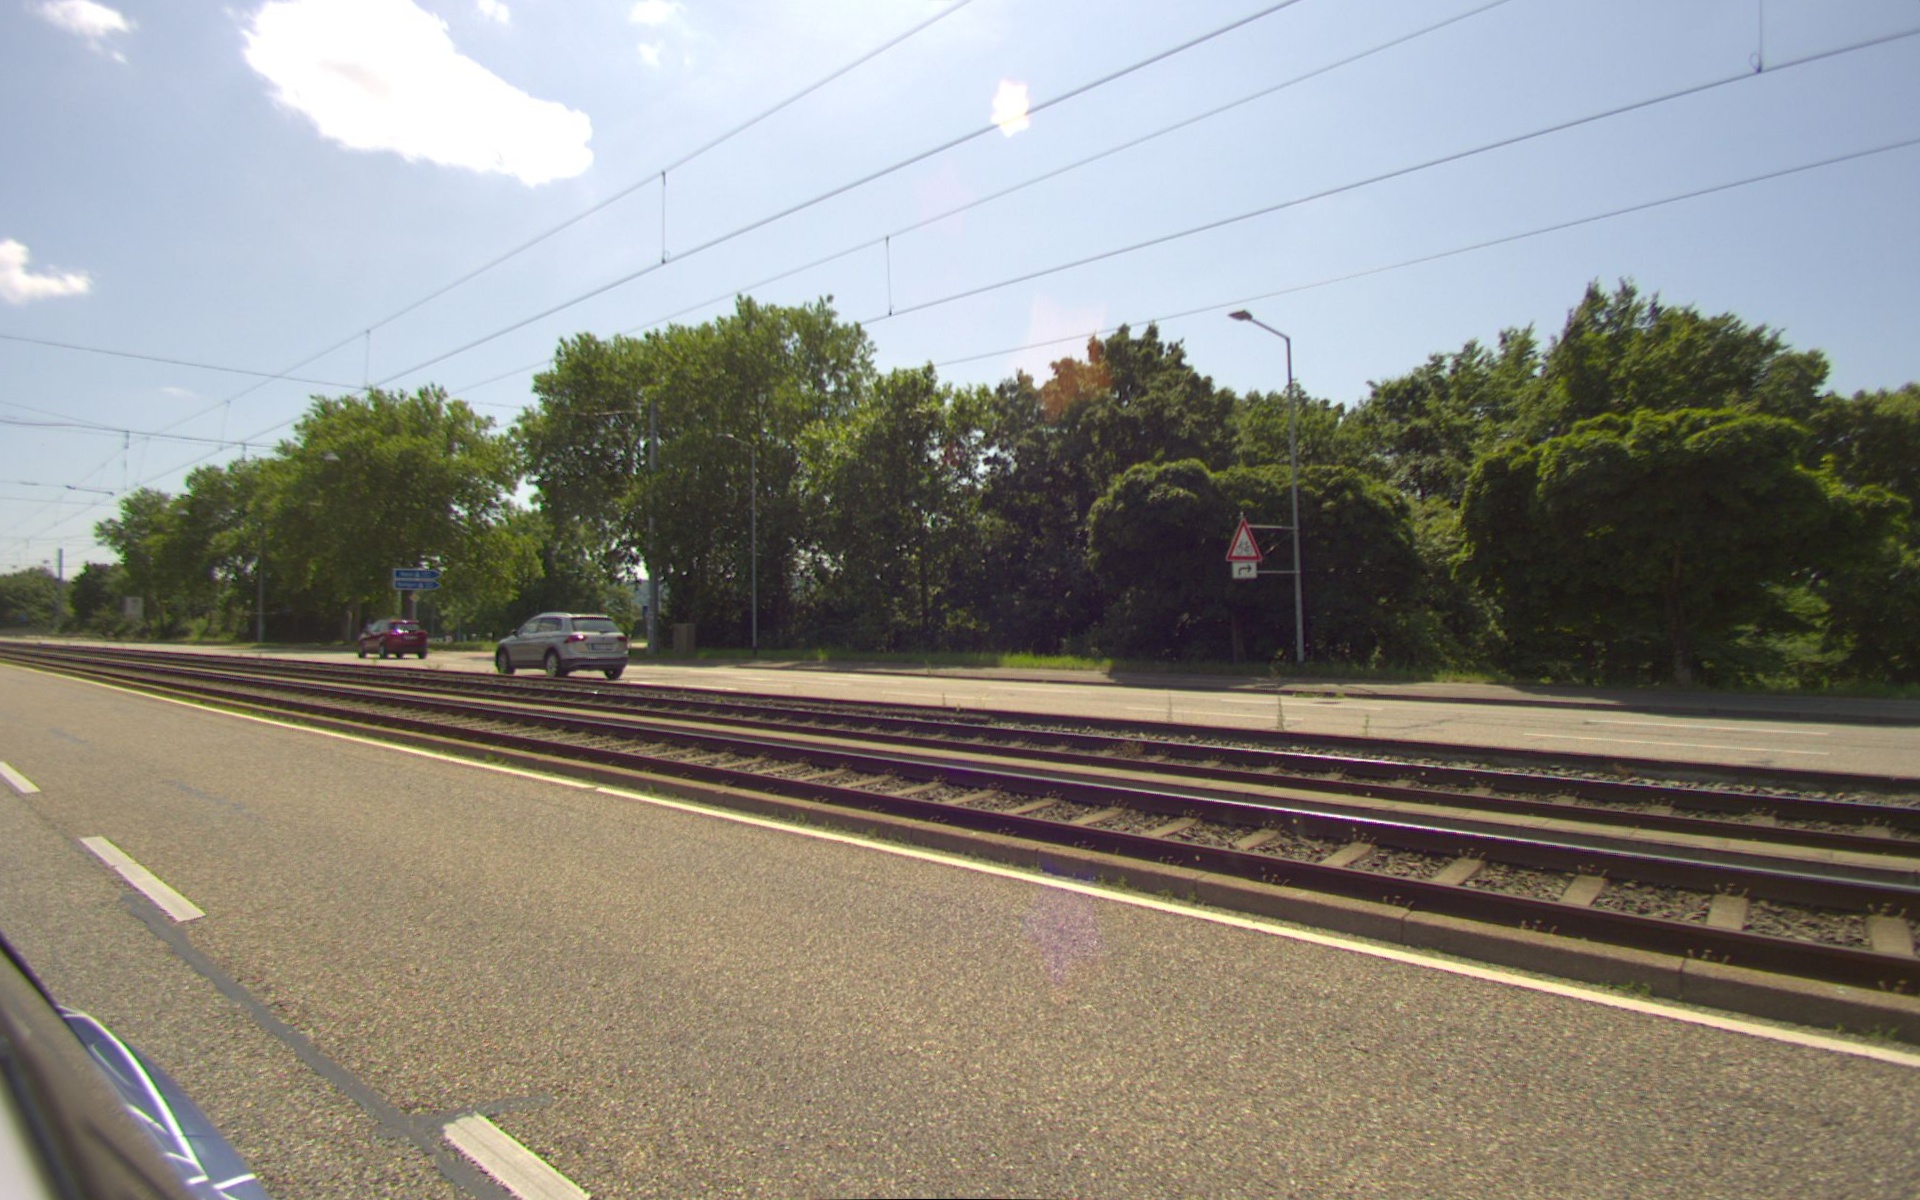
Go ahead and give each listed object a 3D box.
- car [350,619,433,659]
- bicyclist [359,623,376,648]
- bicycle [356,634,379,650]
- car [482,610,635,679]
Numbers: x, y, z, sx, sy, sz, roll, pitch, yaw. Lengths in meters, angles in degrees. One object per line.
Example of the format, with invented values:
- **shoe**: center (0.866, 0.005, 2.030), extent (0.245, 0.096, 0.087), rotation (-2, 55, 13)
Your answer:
- **car**: center (-24.397, 1.659, 43.387), extent (4.209, 1.638, 1.782), rotation (-2, -3, 41)
- **bicyclist**: center (-37.484, 2.233, 64.036), extent (1.159, 1.529, 0.615), rotation (-1, -2, 41)
- **bicycle**: center (-37.494, 2.658, 64.068), extent (2.090, 0.946, 0.615), rotation (-1, -2, 41)
- **car**: center (-10.406, 1.130, 26.067), extent (4.492, 1.638, 1.782), rotation (-2, -3, 41)
